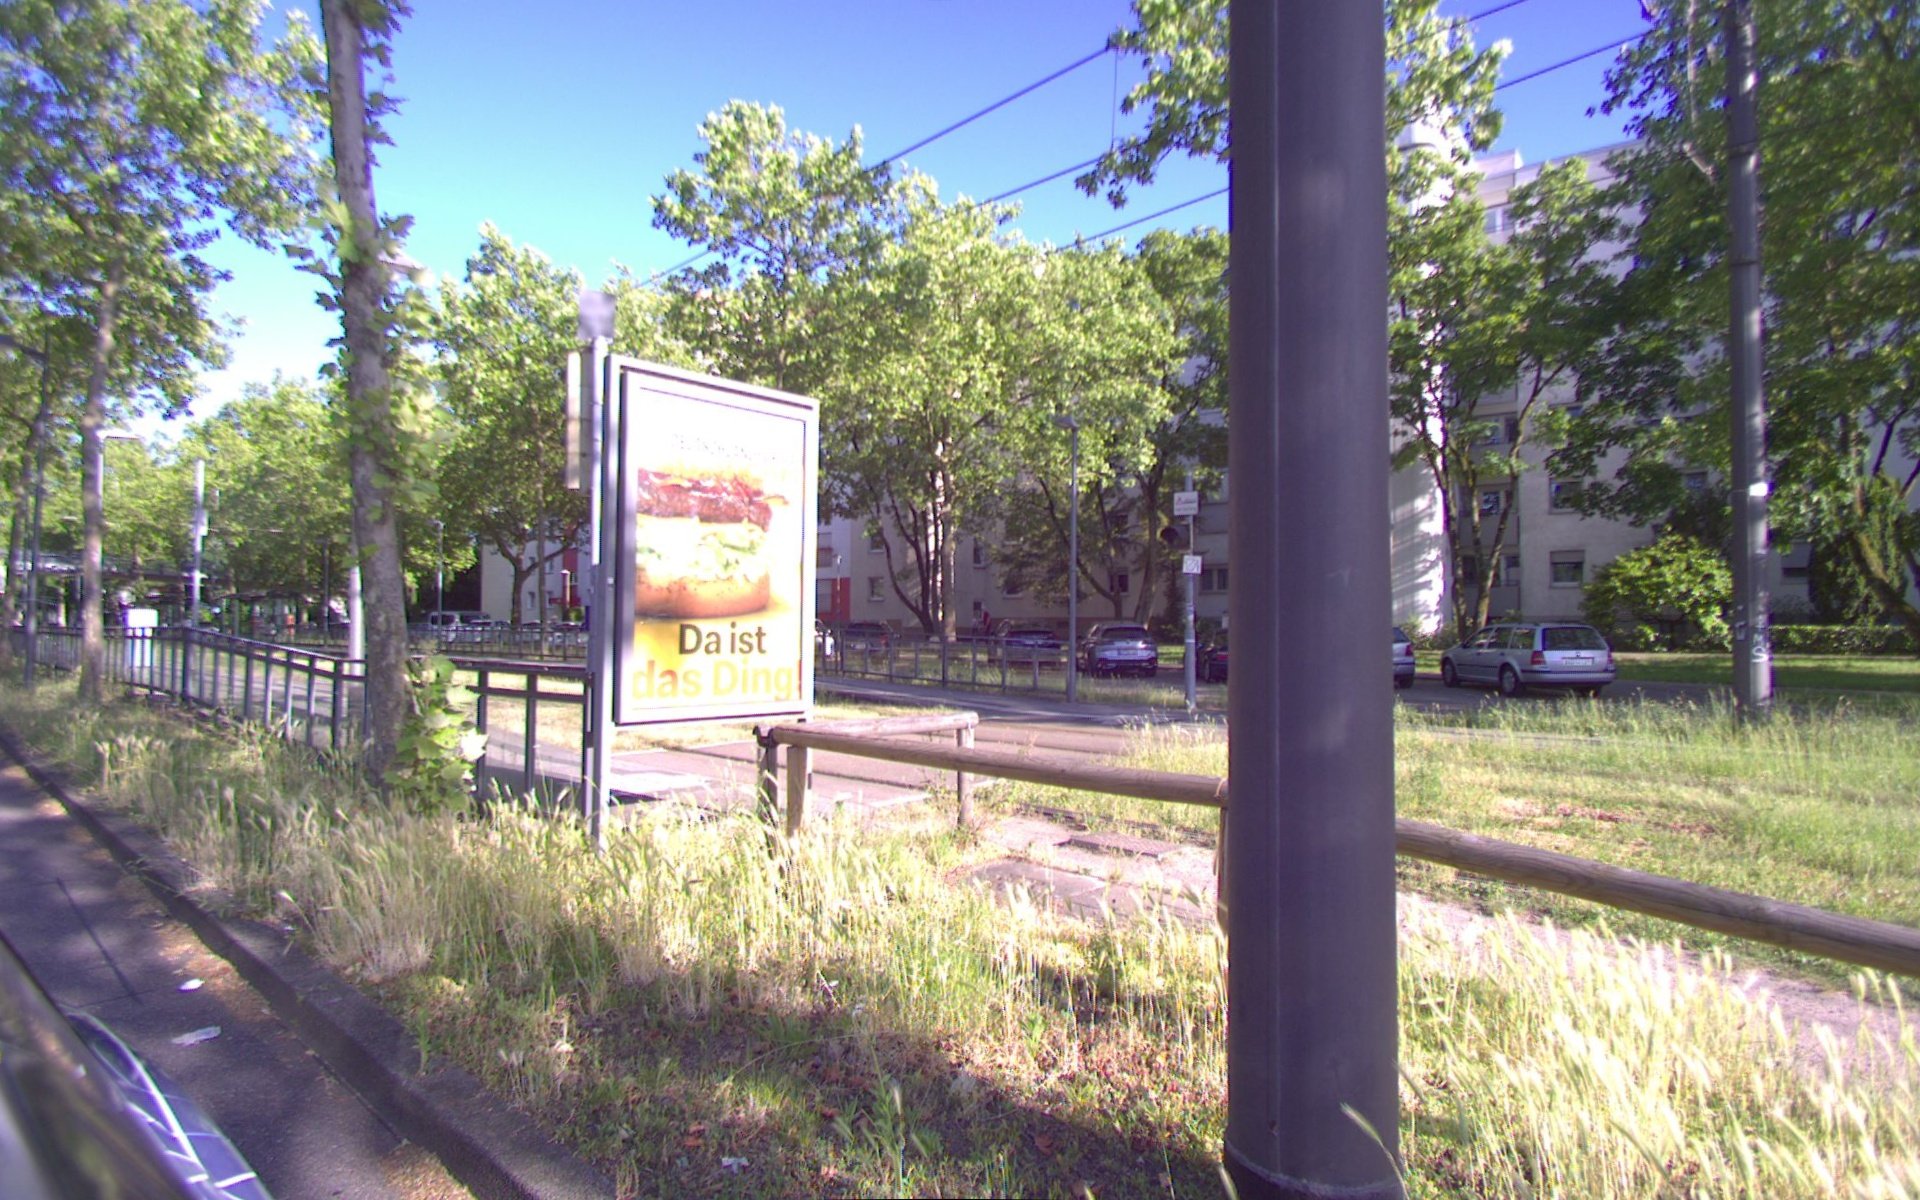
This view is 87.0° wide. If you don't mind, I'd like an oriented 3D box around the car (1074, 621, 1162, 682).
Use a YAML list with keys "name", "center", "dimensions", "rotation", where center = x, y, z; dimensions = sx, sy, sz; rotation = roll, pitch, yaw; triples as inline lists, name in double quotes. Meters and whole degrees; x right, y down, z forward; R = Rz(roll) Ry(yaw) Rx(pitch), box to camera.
- name: "car"
  center: [4.205, 1.345, 27.493]
  dimensions: [1.894, 1.507, 3.680]
  rotation: [0, -1, 2]

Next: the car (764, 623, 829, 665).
- name: "car"
  center: [-5.911, 1.570, 36.919]
  dimensions: [1.664, 1.444, 3.679]
  rotation: [0, -1, 2]

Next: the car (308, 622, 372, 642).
- name: "car"
  center: [-44.647, 2.279, 72.985]
  dimensions: [1.898, 1.386, 4.365]
  rotation: [0, -1, 1]

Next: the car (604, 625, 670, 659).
- name: "car"
  center: [-14.085, 1.818, 44.281]
  dimensions: [1.627, 1.403, 3.679]
  rotation: [0, -1, 2]

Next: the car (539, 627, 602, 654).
- name: "car"
  center: [-19.048, 1.979, 49.667]
  dimensions: [1.627, 1.251, 3.680]
  rotation: [0, -1, 1]

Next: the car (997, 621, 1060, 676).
- name: "car"
  center: [1.932, 1.367, 29.447]
  dimensions: [1.664, 1.482, 3.680]
  rotation: [0, -1, 1]

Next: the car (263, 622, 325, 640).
- name: "car"
  center: [-52.148, 2.401, 79.365]
  dimensions: [1.898, 1.386, 4.365]
  rotation: [0, -1, 1]

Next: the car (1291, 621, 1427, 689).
- name: "car"
  center: [9.151, 1.219, 23.528]
  dimensions: [1.679, 1.444, 3.681]
  rotation: [0, -1, 1]

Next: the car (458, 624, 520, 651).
- name: "car"
  center: [-25.800, 2.033, 55.519]
  dimensions: [1.627, 1.407, 3.680]
  rotation: [0, -1, 1]

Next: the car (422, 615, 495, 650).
- name: "car"
  center: [-28.329, 1.824, 57.328]
  dimensions: [1.898, 1.898, 4.365]
  rotation: [0, -1, 1]

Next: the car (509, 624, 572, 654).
- name: "car"
  center: [-21.126, 1.957, 51.134]
  dimensions: [1.627, 1.460, 3.680]
  rotation: [0, -1, 1]

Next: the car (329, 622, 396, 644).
- name: "car"
  center: [-40.285, 2.202, 68.392]
  dimensions: [1.898, 1.386, 4.365]
  rotation: [0, -1, 1]

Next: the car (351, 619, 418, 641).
- name: "car"
  center: [-37.854, 1.966, 66.668]
  dimensions: [1.898, 1.386, 4.365]
  rotation: [0, -1, 1]

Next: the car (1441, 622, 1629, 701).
- name: "car"
  center: [11.546, 1.176, 20.629]
  dimensions: [1.707, 1.444, 3.681]
  rotation: [0, -1, 1]

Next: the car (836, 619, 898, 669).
- name: "car"
  center: [-3.110, 1.457, 34.469]
  dimensions: [1.664, 1.579, 3.679]
  rotation: [0, -1, 2]

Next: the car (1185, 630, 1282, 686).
- name: "car"
  center: [6.727, 1.400, 25.208]
  dimensions: [1.602, 1.256, 3.677]
  rotation: [0, -1, 4]

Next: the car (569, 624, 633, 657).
- name: "car"
  center: [-16.684, 1.841, 47.137]
  dimensions: [1.627, 1.460, 3.680]
  rotation: [0, -1, 1]
